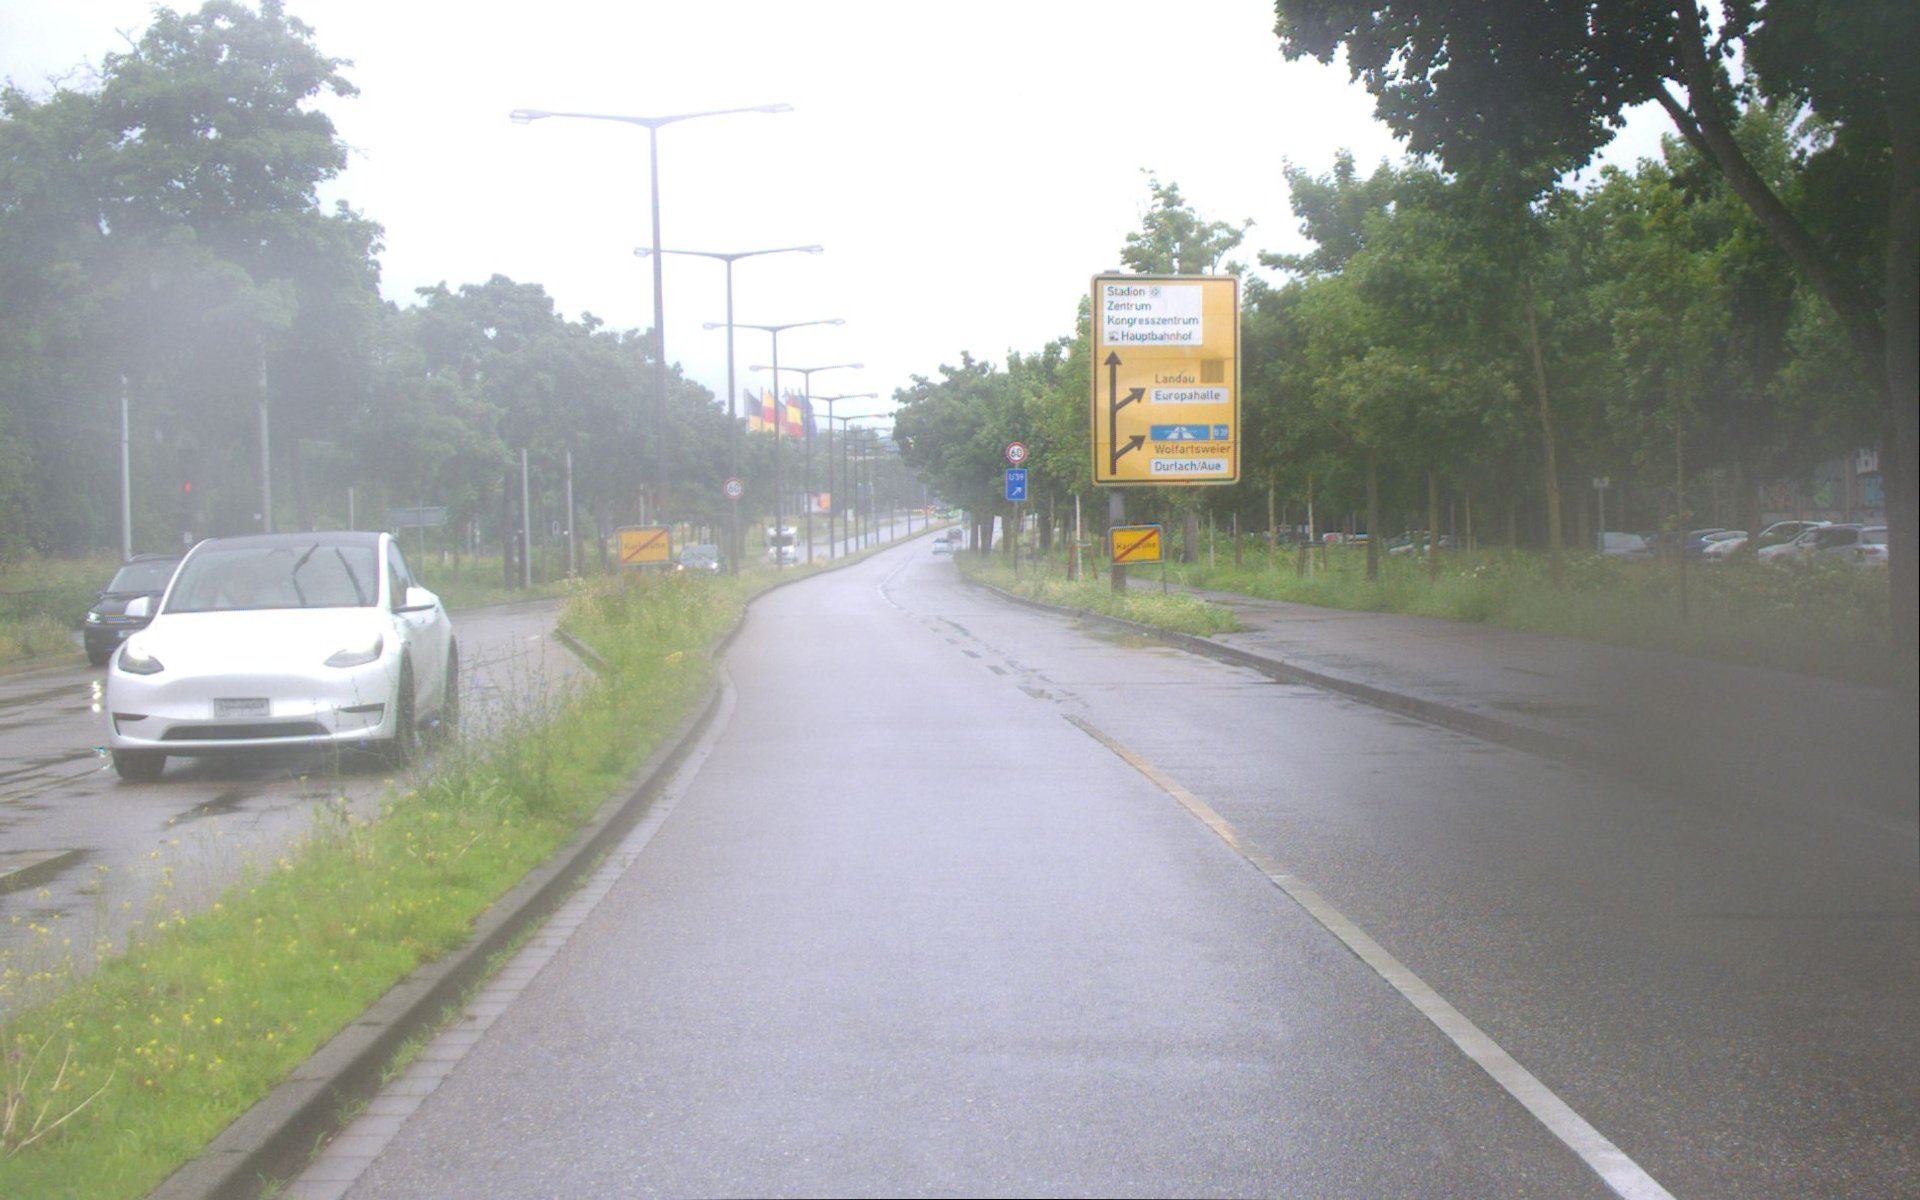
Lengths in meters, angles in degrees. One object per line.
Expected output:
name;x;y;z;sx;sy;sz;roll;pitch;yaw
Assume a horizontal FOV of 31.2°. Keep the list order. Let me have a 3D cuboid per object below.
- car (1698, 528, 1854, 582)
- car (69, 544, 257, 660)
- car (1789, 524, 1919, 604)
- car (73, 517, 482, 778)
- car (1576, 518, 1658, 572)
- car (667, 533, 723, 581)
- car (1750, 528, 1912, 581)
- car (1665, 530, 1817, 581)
car;26.798;-1.471;112.972;4.569;1.699;2.000;1;0;-4
car;-12.282;-0.007;53.220;1.707;1.636;4.331;-3;1;2
car;19.444;-0.778;74.026;1.993;1.620;4.642;-1;1;0
car;-4.649;0.250;24.121;1.961;1.611;4.697;-1;1;-1
car;19.454;-1.643;101.990;1.745;1.440;4.122;-1;3;2
car;-9.734;-1.586;126.620;1.743;1.644;4.136;-3;1;-1
car;27.139;-1.418;107.228;4.570;1.552;1.945;1;0;3
car;26.314;-1.503;115.864;4.569;1.639;2.000;1;0;-6
